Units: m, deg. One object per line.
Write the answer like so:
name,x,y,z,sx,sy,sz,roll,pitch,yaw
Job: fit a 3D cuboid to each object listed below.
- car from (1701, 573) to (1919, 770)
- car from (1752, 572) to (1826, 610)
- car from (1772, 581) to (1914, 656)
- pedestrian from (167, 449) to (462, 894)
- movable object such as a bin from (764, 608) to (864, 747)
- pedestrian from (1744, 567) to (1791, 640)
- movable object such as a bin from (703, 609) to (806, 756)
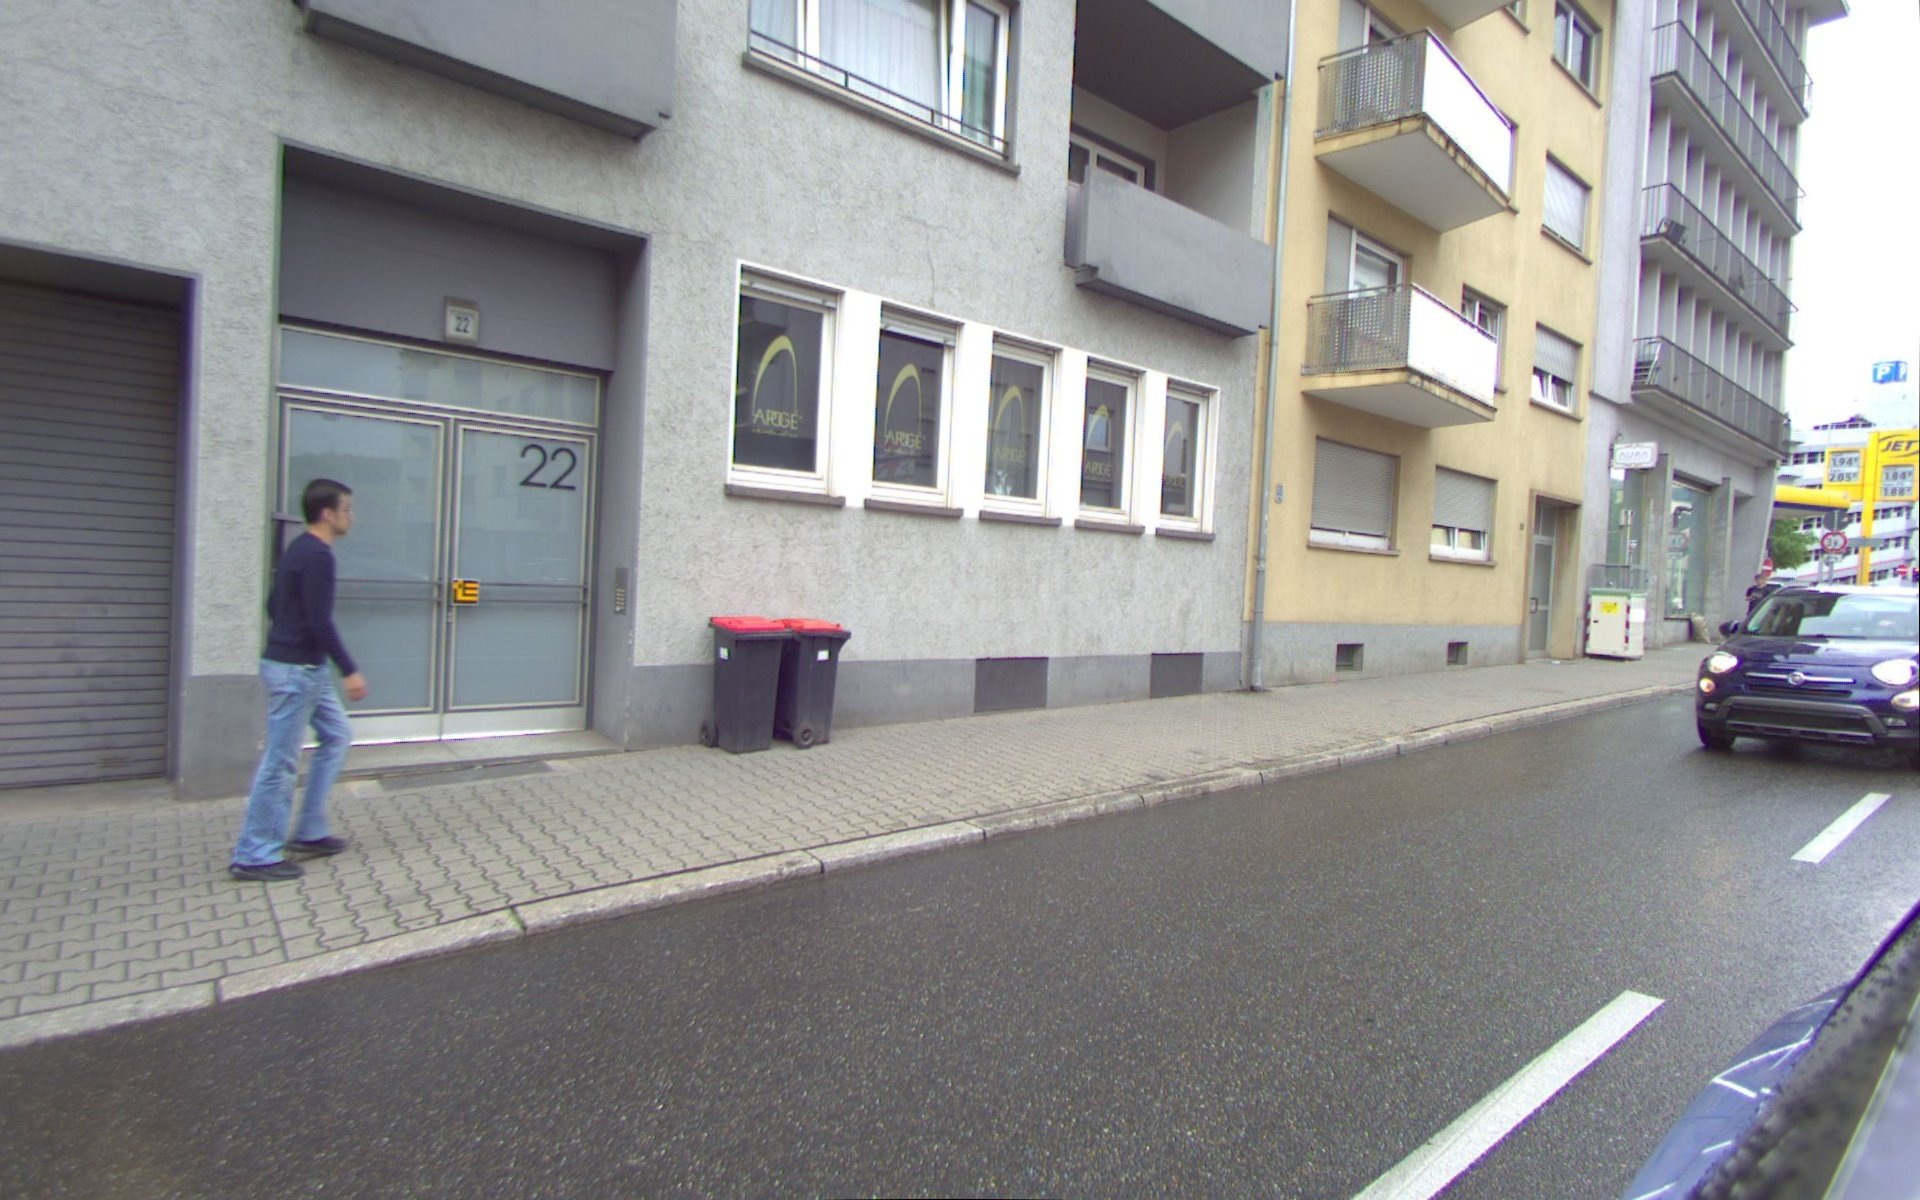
car,8.951,0.568,10.003,3.930,1.600,1.770,0,1,-41
car,34.564,-0.376,42.299,1.757,1.493,3.957,0,0,30
car,20.074,0.365,22.962,4.093,1.453,1.803,0,4,-41
pedestrian,-2.955,0.268,4.647,1.038,1.799,0.644,0,5,-41
movable object such as a bin,-1.120,0.571,7.745,0.506,0.961,0.541,0,5,-40
pedestrian,20.300,0.077,25.433,0.872,1.777,0.679,0,2,-39
movable object such as a bin,-1.500,0.576,7.376,0.506,0.967,0.541,0,5,-40
